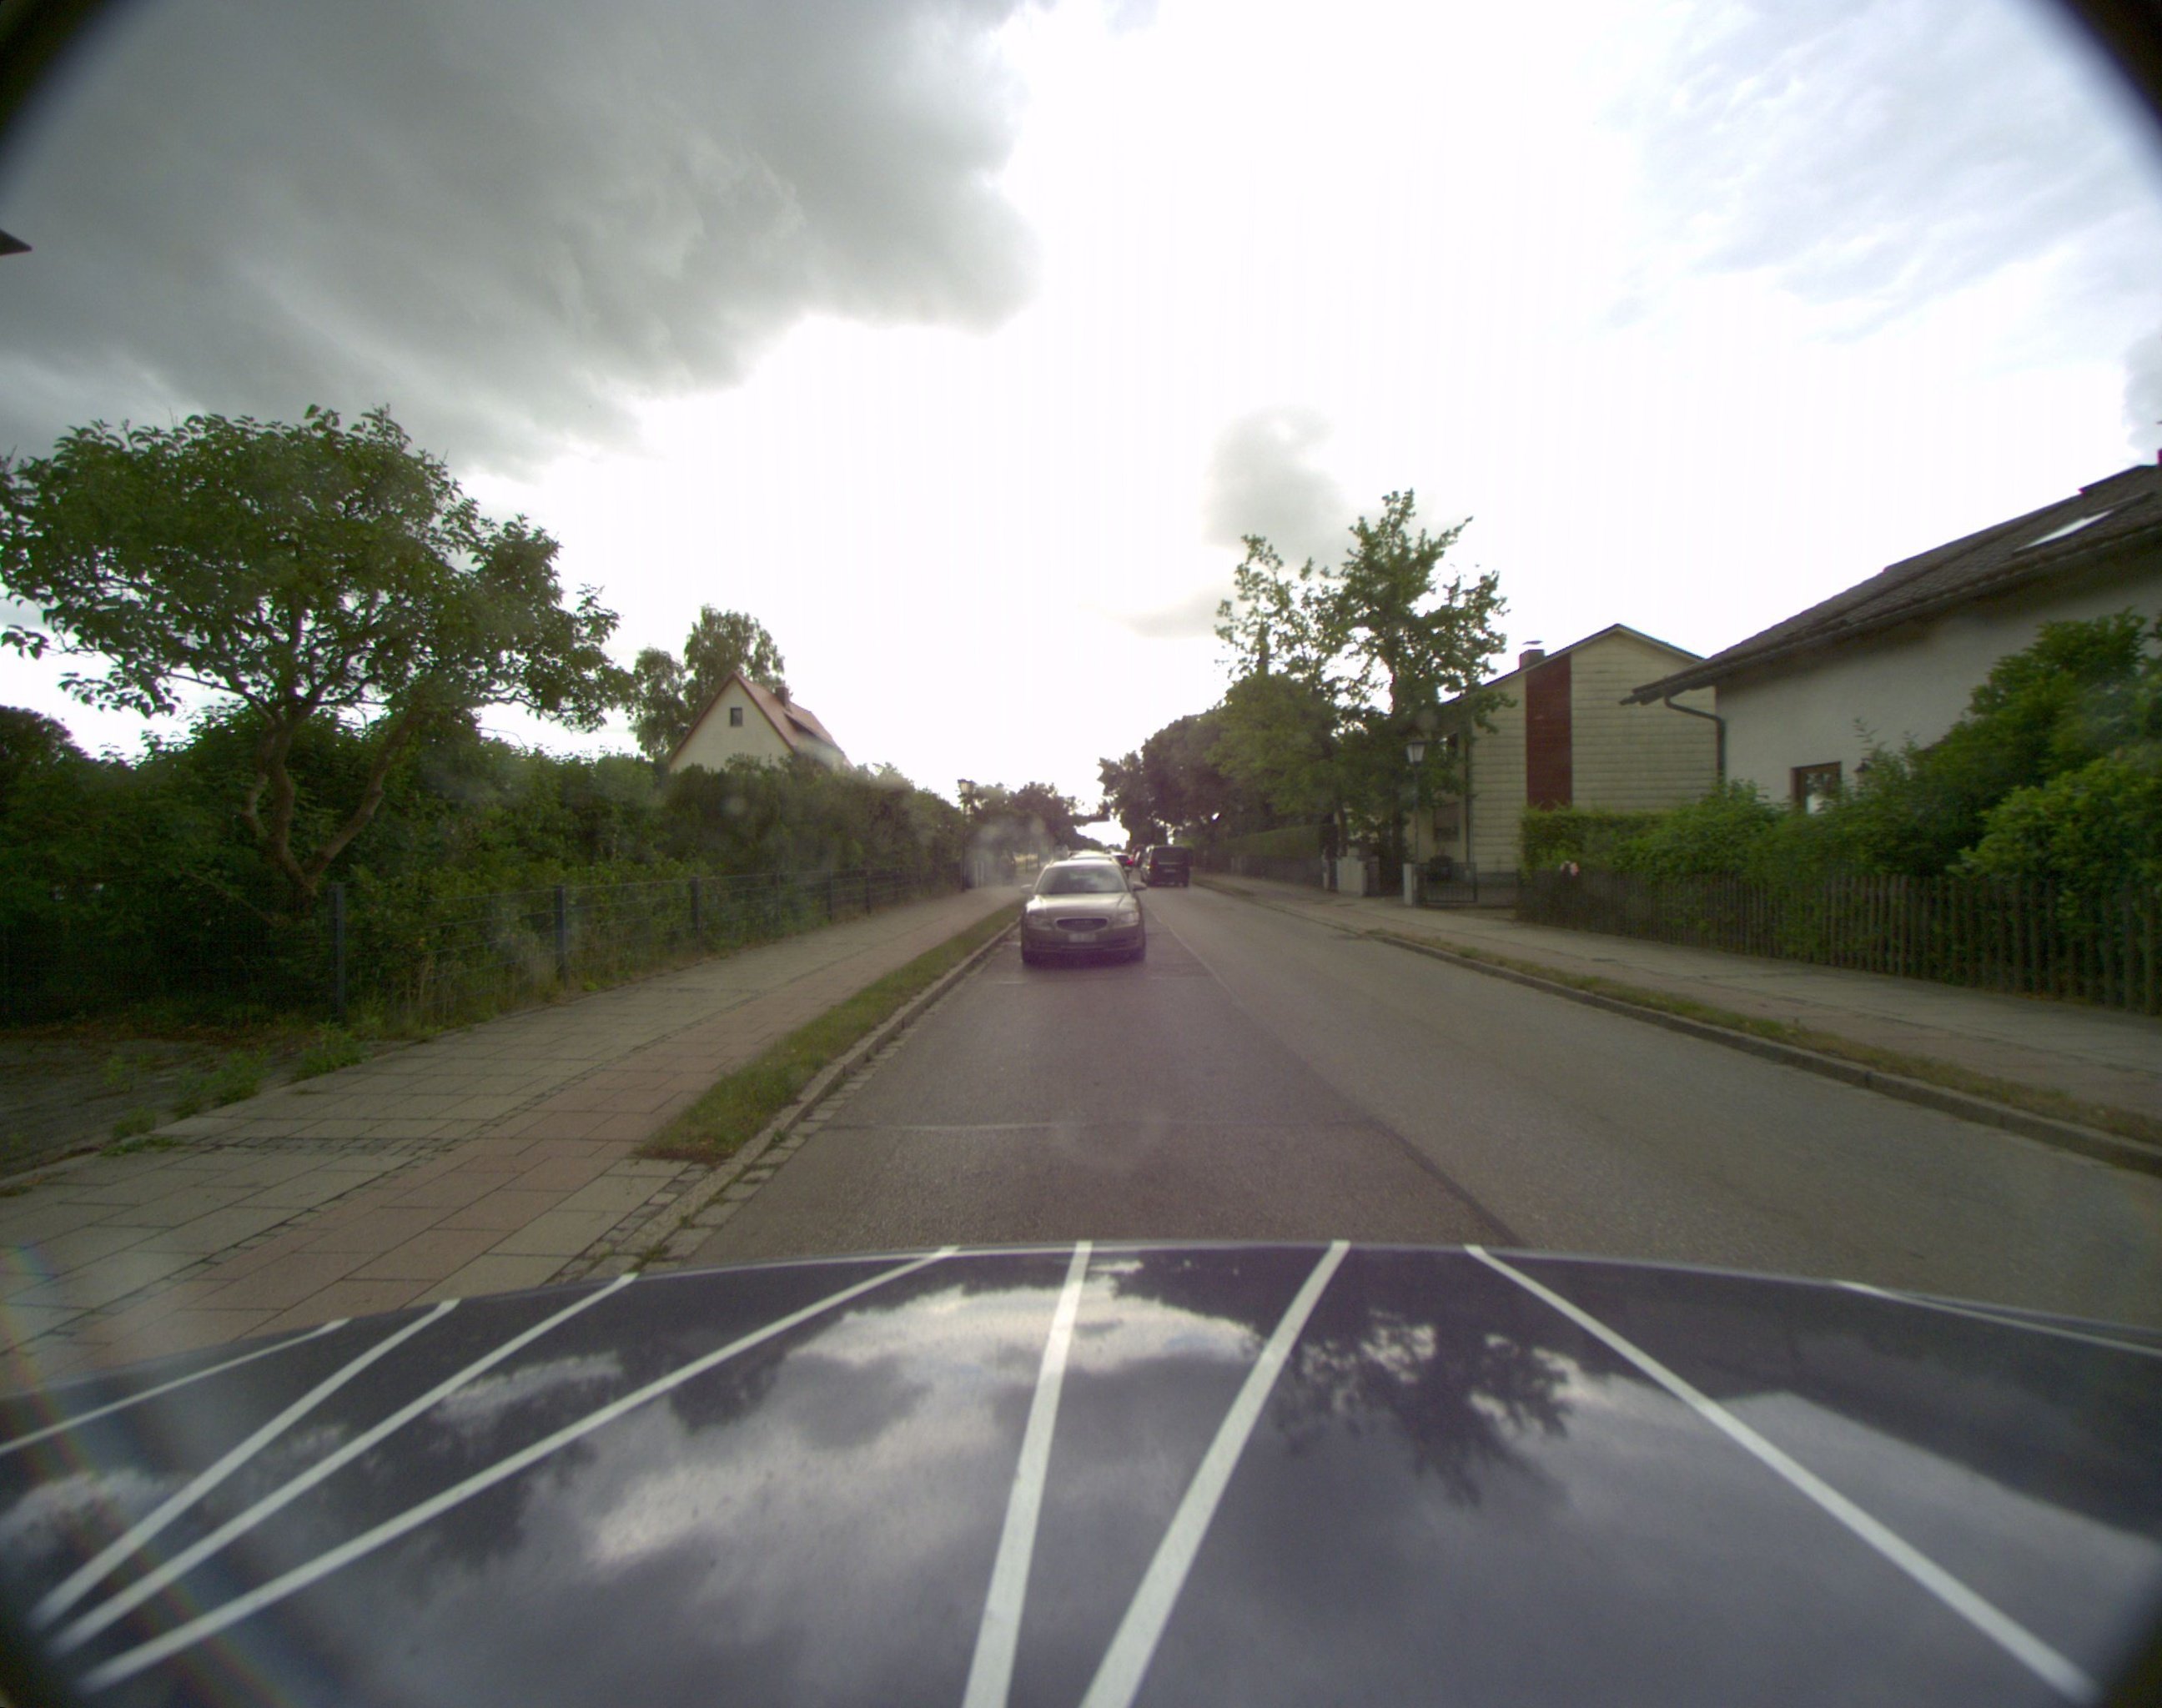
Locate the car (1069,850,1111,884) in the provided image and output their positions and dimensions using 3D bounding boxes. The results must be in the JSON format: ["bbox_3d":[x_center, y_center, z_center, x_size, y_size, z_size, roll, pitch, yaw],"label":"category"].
[{"bbox_3d":[0.431,0.581,36.310,1.866,1.518,4.122,-1,0,0],"label":"car"}]

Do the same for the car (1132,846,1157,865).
[{"bbox_3d":[6.238,0.121,75.404,1.999,1.740,3.999,-1,0,-2],"label":"car"}]

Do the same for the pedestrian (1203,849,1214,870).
[{"bbox_3d":[9.008,0.382,53.780,0.631,1.429,0.563,-1,1,1],"label":"pedestrian"}]

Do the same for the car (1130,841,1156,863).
[{"bbox_3d":[6.561,-0.246,81.255,2.246,2.258,4.469,-2,0,-2],"label":"car"}]

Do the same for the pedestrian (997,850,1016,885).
[{"bbox_3d":[-3.446,0.624,35.208,0.792,1.593,0.671,-1,1,-2],"label":"pedestrian"}]

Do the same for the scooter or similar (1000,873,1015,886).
[{"bbox_3d":[-3.338,1.157,34.525,0.618,0.553,0.742,-1,0,-1],"label":"scooter or similar"}]

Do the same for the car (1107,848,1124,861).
[{"bbox_3d":[4.152,0.046,93.060,1.756,1.475,4.375,-2,0,-1],"label":"car"}]

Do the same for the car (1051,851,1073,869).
[{"bbox_3d":[-1.644,0.531,67.537,1.866,1.518,4.122,-1,0,-1],"label":"car"}]

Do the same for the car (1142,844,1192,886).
[{"bbox_3d":[4.022,0.462,36.240,1.969,1.842,4.947,-1,0,2],"label":"car"}]

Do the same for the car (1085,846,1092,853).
[{"bbox_3d":[2.270,-1.457,225.724,1.998,2.002,4.000,-1,0,1],"label":"car"}]

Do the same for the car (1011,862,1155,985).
[{"bbox_3d":[0.044,0.918,11.914,1.809,1.476,4.270,-1,0,0],"label":"car"}]

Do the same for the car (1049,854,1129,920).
[{"bbox_3d":[0.215,0.786,20.671,1.866,1.518,4.943,-1,0,0],"label":"car"}]

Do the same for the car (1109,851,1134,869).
[{"bbox_3d":[3.349,0.483,64.121,1.851,1.445,4.548,-1,0,0],"label":"car"}]
